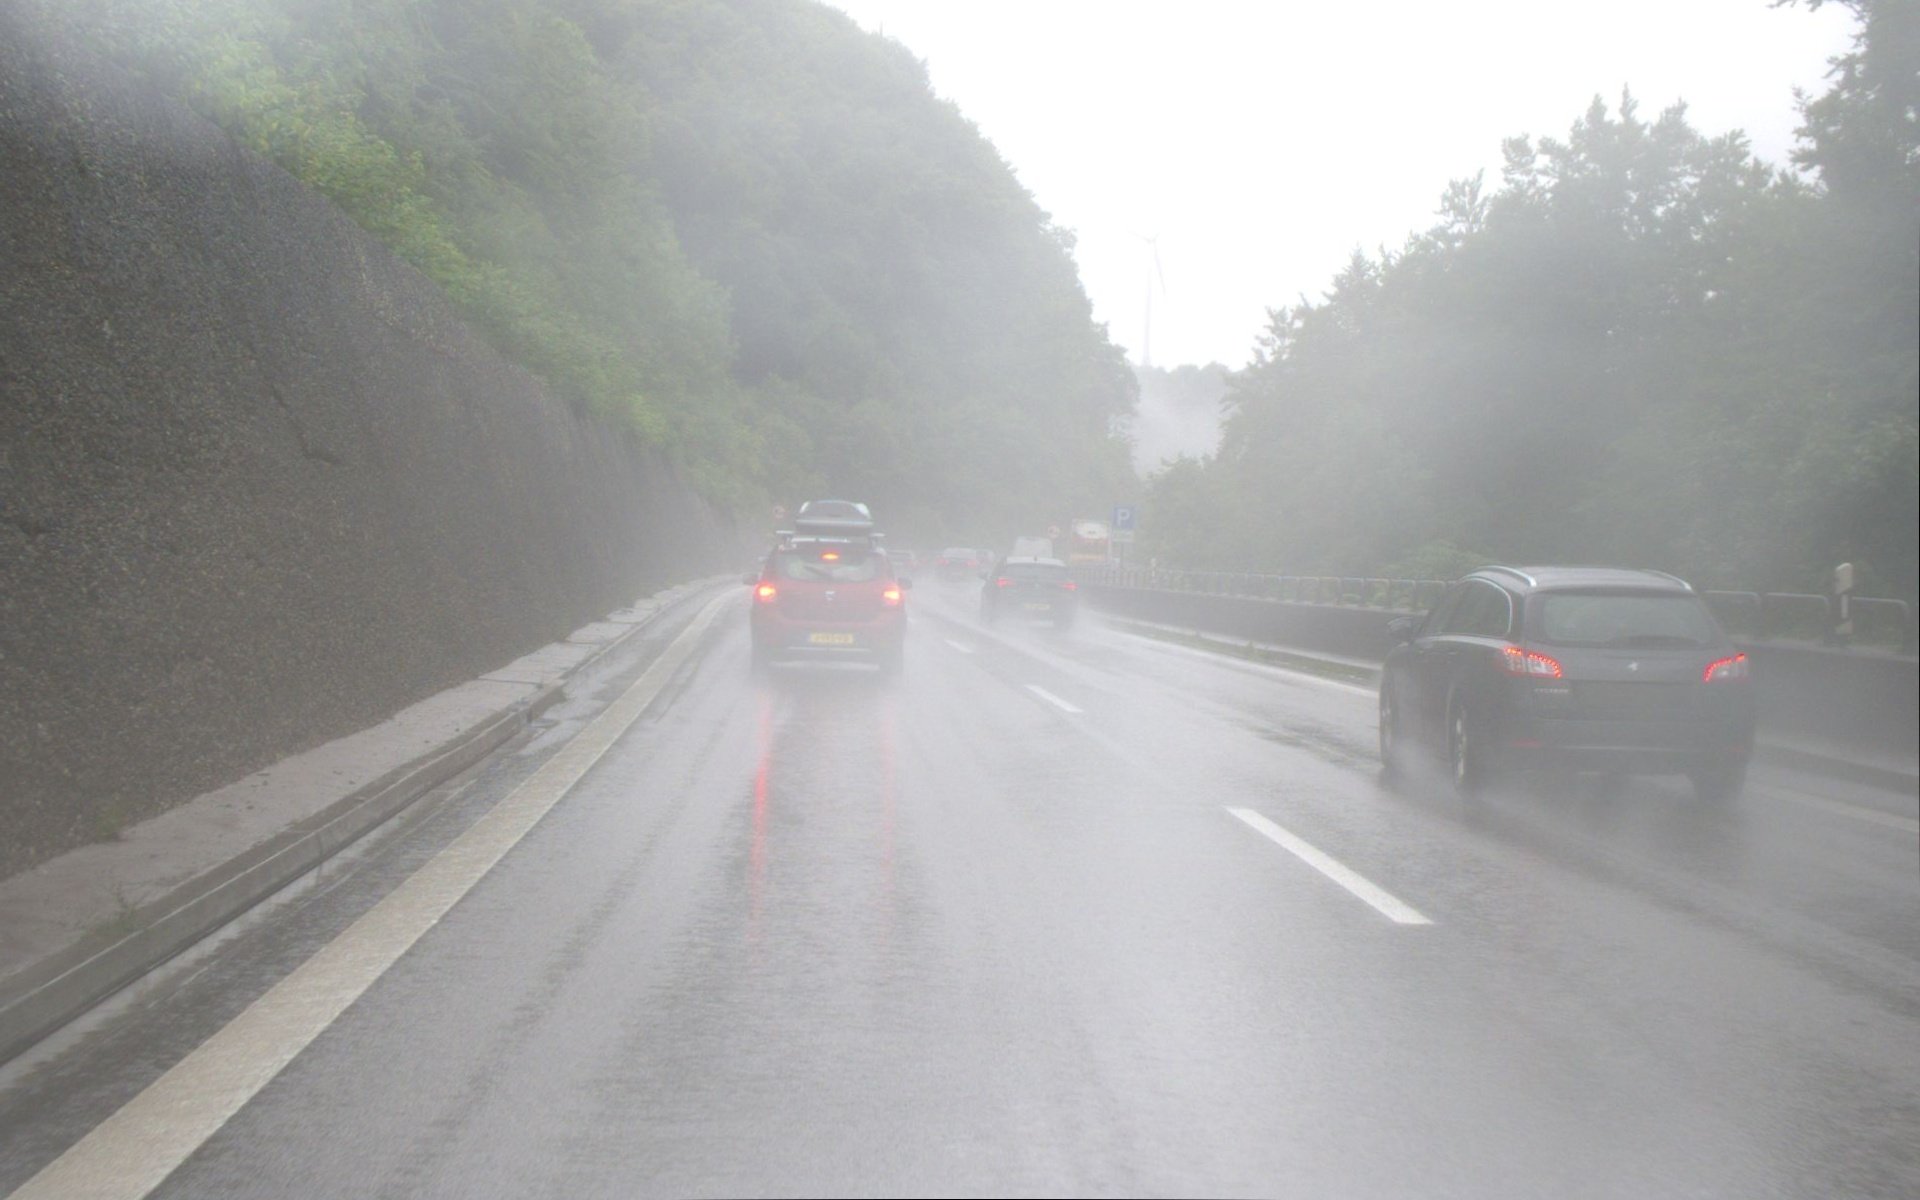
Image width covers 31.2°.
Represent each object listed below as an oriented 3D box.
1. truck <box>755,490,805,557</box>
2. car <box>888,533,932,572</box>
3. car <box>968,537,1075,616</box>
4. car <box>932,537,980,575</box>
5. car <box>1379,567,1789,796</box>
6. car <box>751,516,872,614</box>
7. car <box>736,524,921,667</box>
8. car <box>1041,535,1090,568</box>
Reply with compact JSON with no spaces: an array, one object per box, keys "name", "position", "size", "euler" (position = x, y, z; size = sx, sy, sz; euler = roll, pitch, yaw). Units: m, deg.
[{"name":"truck","position":[-7.722,-3.259,147.537],"size":[1.993,2.741,5.587],"euler":[3,1,-3]},{"name":"car","position":[-2.359,-2.208,159.893],"size":[1.993,1.743,4.000],"euler":[1,1,-1]},{"name":"car","position":[1.222,-0.507,70.125],"size":[1.993,1.546,4.000],"euler":[0,1,-1]},{"name":"car","position":[-0.190,-1.916,148.814],"size":[1.993,1.571,4.000],"euler":[1,1,-1]},{"name":"car","position":[3.938,0.464,22.360],"size":[1.800,1.303,4.000],"euler":[1,1,-2]},{"name":"car","position":[-2.609,-0.600,61.156],"size":[1.993,1.678,4.000],"euler":[0,0,0]},{"name":"car","position":[-1.496,-0.053,39.326],"size":[1.993,1.547,4.000],"euler":[0,0,-2]},{"name":"car","position":[6.518,-2.995,213.029],"size":[2.448,2.007,4.737],"euler":[1,1,-5]}]
